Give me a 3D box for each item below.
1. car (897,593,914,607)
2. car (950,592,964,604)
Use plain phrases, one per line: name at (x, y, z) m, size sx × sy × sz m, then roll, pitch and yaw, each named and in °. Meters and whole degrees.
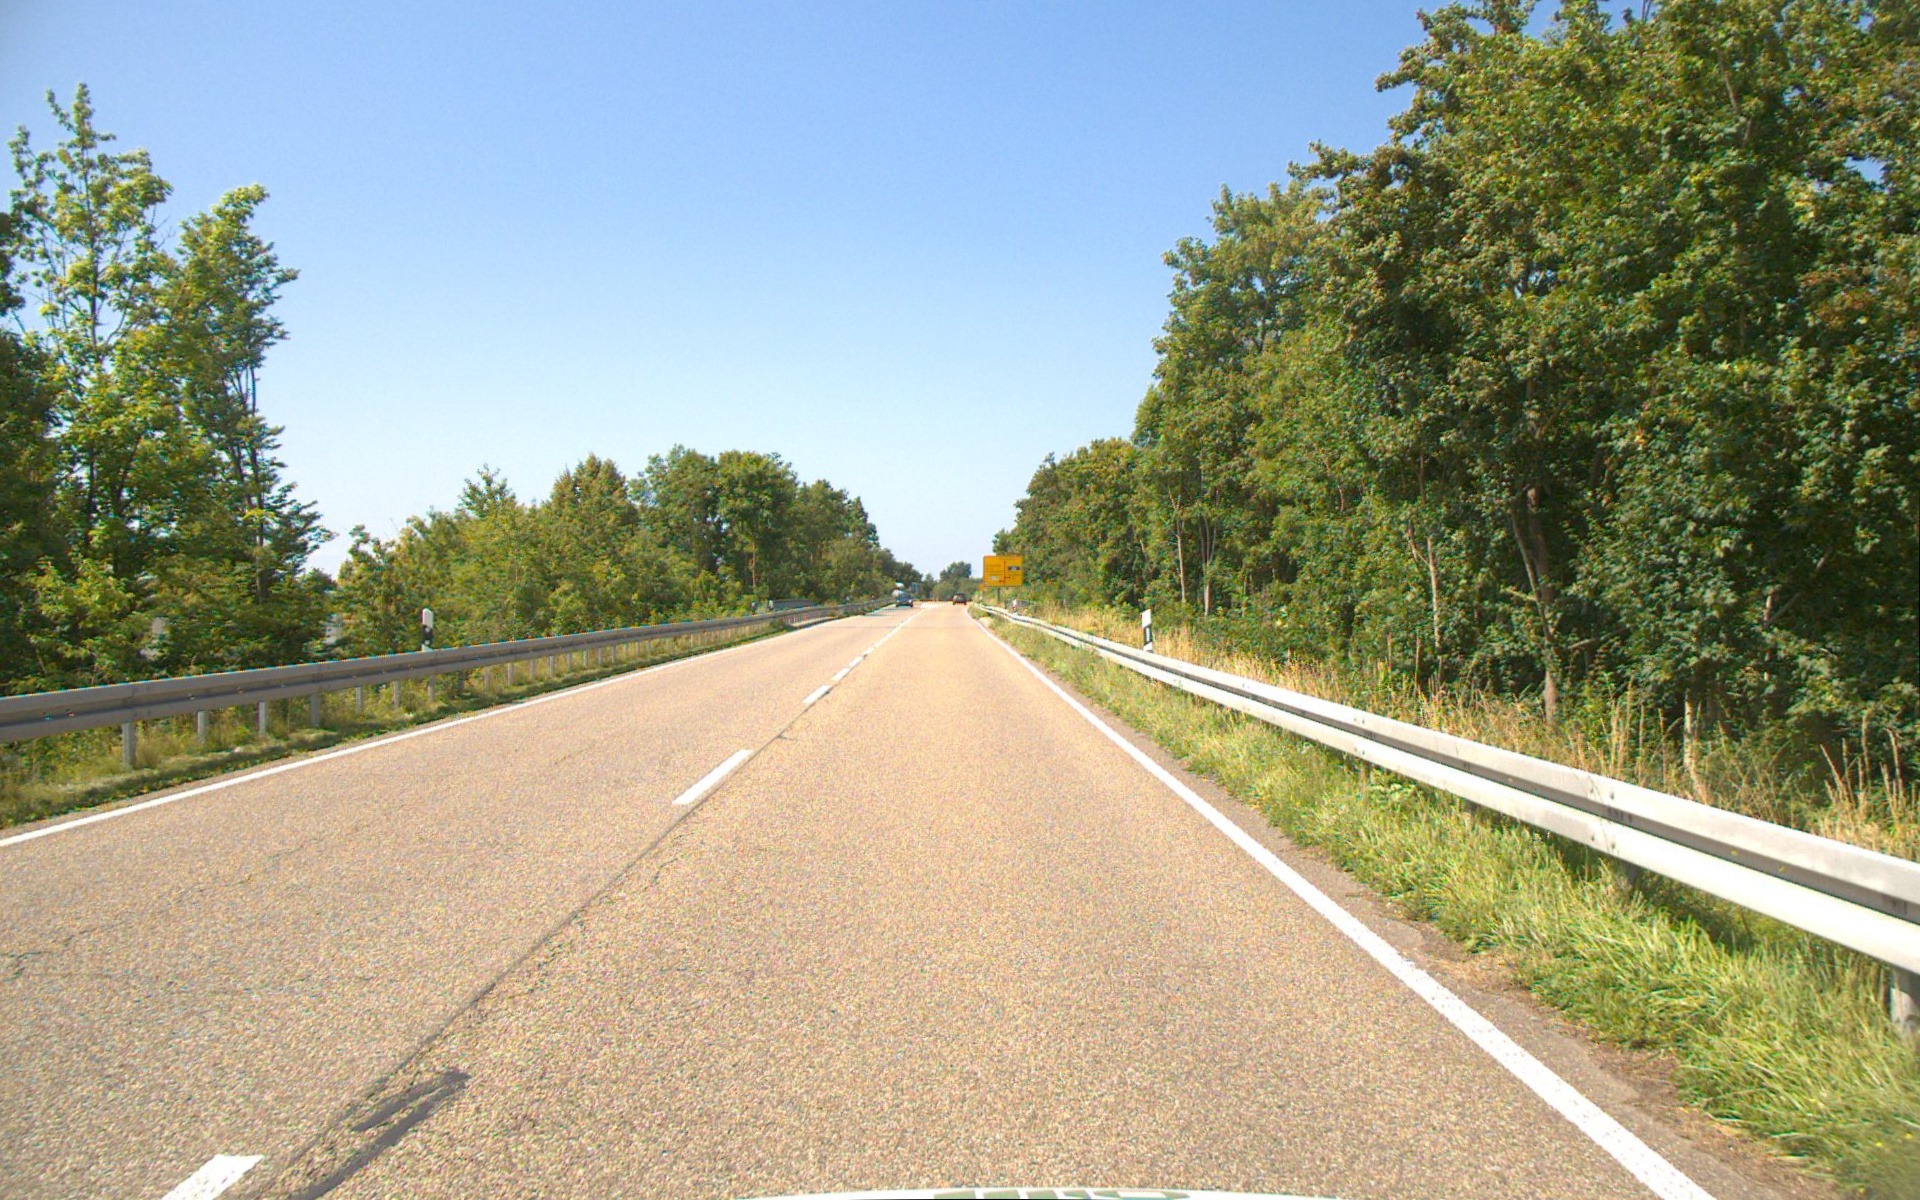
car at (-5.837, 0.028, 177.300) m, size 1.710 × 1.450 × 4.677 m, roll 0°, pitch 0°, yaw 0°
car at (-0.358, -0.219, 211.841) m, size 1.705 × 1.496 × 3.692 m, roll 0°, pitch 0°, yaw 0°
